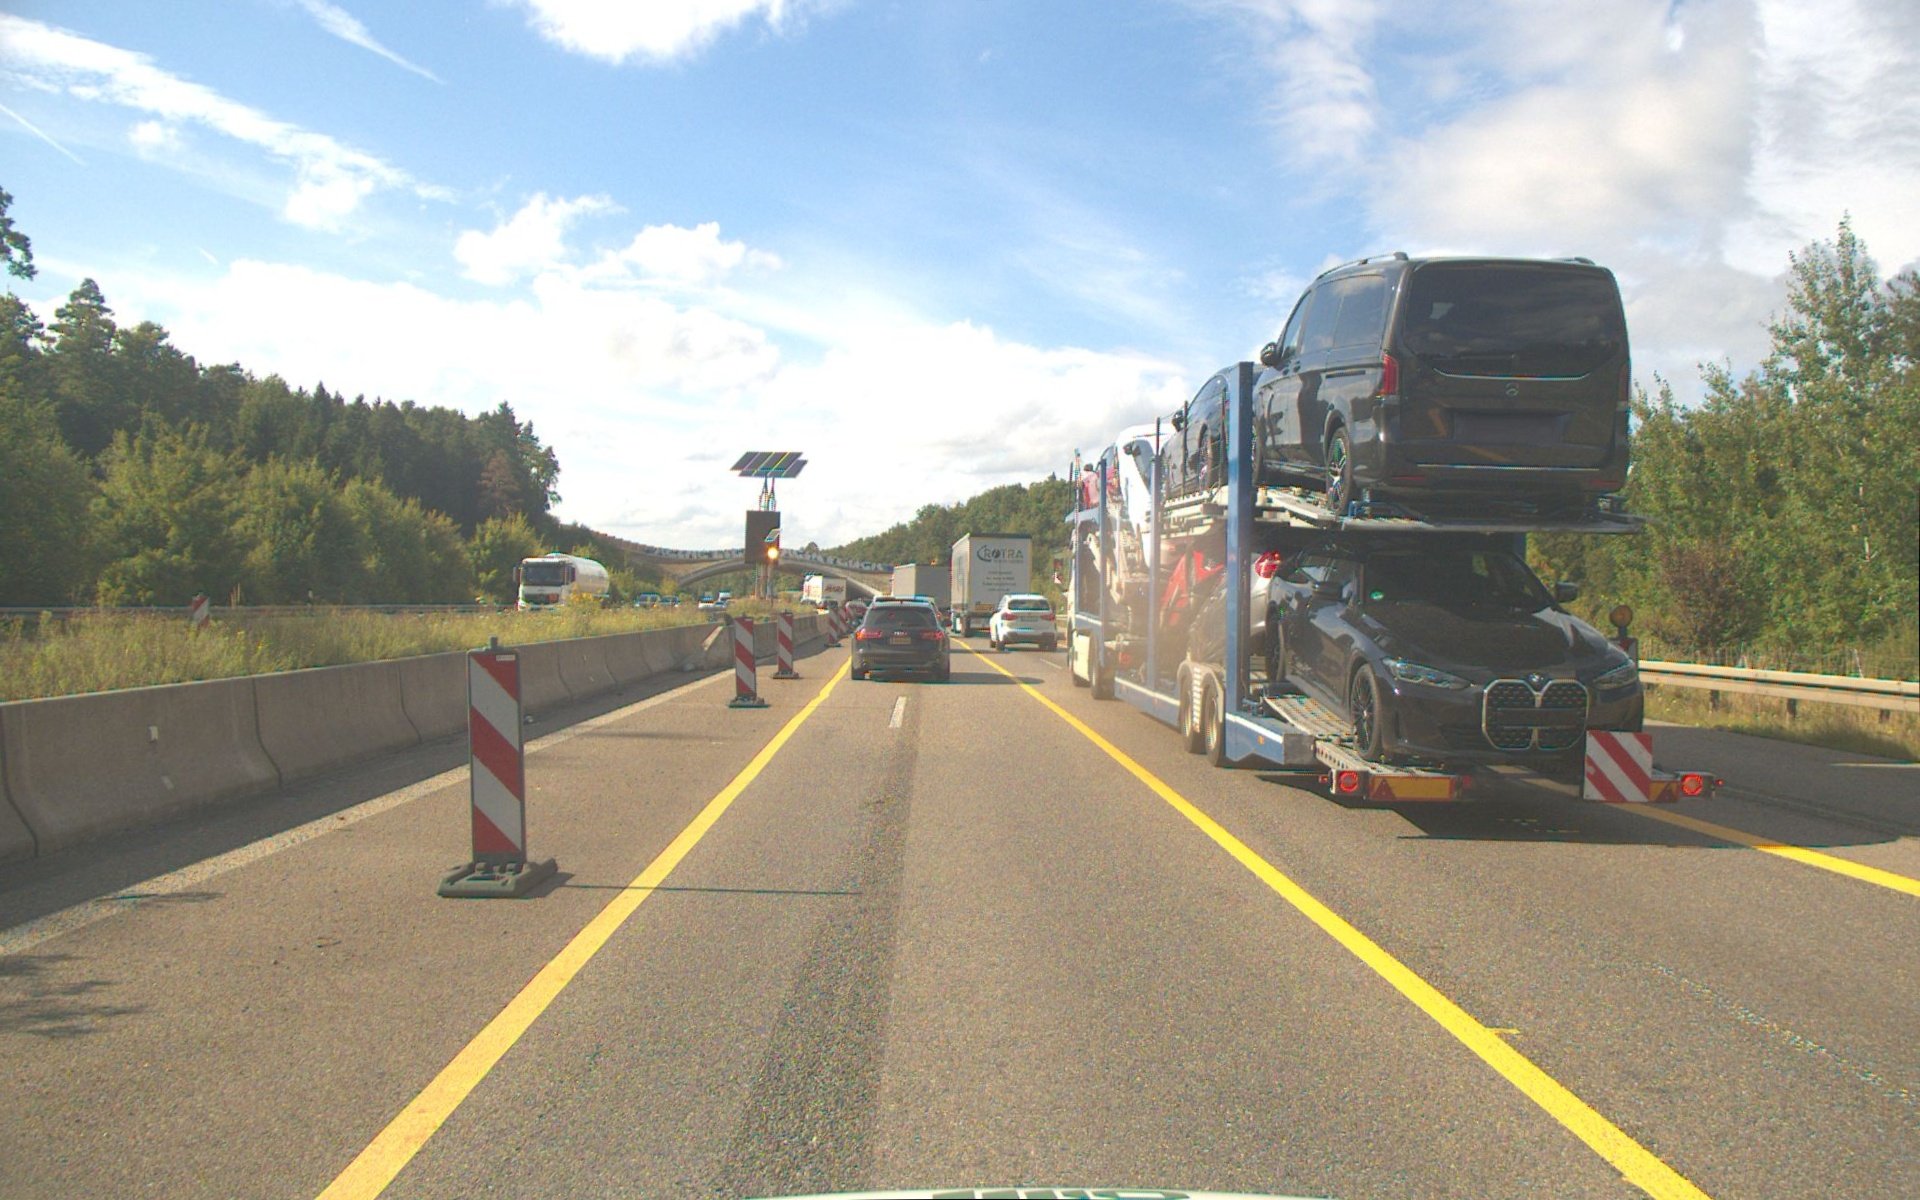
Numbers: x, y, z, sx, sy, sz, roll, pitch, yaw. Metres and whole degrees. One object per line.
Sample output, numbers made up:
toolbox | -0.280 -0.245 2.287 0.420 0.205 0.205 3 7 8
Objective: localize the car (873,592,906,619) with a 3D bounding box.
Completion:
car | -4.512 0.333 105.441 1.854 1.672 4.012 1 0 -6

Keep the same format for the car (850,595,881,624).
car | -6.953 0.687 121.748 1.956 2.049 3.993 1 0 -8

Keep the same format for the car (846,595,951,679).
car | -1.112 0.673 31.503 1.852 1.472 3.999 1 0 -1

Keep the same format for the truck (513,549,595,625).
truck | -19.644 -0.594 80.340 2.728 3.551 4.938 1 0 -1

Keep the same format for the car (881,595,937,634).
car | -2.043 0.562 65.382 1.854 1.472 3.994 1 0 -7

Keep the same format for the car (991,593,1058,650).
car | 1.939 0.646 50.894 1.852 1.672 4.017 1 0 -1

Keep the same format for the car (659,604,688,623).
car | -24.974 1.157 144.356 1.919 1.616 4.480 1 0 -2

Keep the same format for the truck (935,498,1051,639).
truck | 1.187 -1.218 72.945 3.605 5.447 16.187 1 0 -4

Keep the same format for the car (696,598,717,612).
car | -29.469 0.608 192.400 1.742 1.630 4.017 1 0 -1

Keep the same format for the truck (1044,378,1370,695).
truck | 3.595 -0.848 26.570 3.686 4.270 7.947 1 0 -3

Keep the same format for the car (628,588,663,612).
car | -22.549 0.013 118.614 1.742 1.630 4.017 1 0 -1

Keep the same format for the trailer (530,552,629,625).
trailer | -19.724 -0.538 86.485 2.745 3.551 11.110 1 0 -1

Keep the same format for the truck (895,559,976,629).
truck | -1.868 -0.397 118.010 4.239 4.681 11.103 1 0 -8

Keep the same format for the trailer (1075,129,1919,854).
trailer | 4.010 -0.602 18.005 3.651 4.270 16.219 1 0 -2

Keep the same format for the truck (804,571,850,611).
truck | -14.048 -0.897 173.495 3.588 3.997 11.038 1 0 -11
